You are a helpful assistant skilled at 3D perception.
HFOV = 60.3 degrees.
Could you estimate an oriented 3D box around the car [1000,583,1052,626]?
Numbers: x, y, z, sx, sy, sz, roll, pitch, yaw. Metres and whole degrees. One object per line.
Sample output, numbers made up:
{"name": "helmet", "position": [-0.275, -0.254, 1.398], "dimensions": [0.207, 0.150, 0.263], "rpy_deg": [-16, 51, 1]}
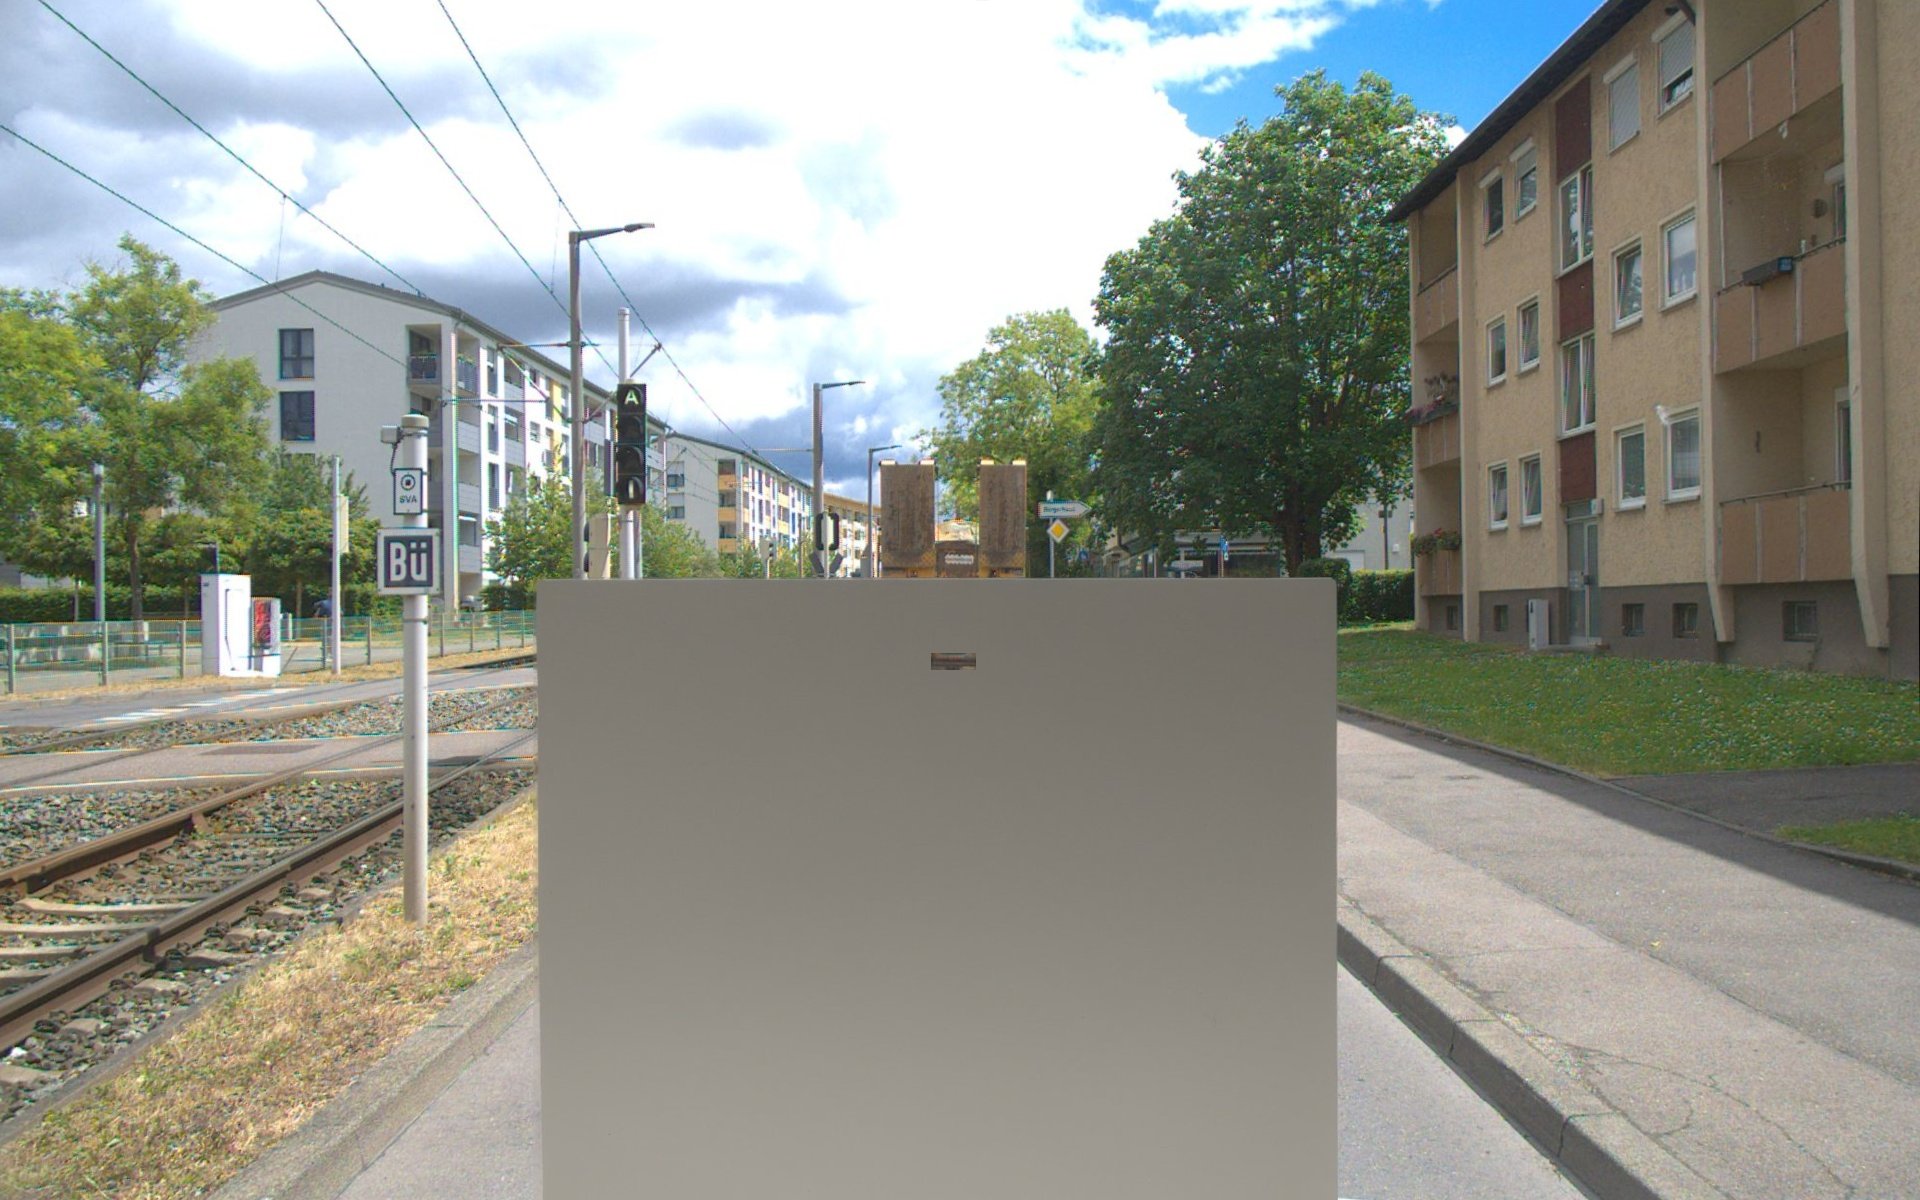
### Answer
{"name": "car", "position": [2.764, 0.150, 70.257], "dimensions": [1.953, 1.646, 4.000], "rpy_deg": [-2, 1, -1]}

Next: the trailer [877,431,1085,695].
{"name": "trailer", "position": [0.041, -0.680, 30.584], "dimensions": [2.990, 3.838, 11.607], "rpy_deg": [-2, 1, -3]}

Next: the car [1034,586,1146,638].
{"name": "car", "position": [4.416, 0.389, 56.036], "dimensions": [3.521, 1.612, 2.002], "rpy_deg": [-2, 0, 11]}

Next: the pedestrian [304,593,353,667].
{"name": "pedestrian", "position": [-15.054, 0.708, 39.451], "dimensions": [0.734, 1.690, 0.870], "rpy_deg": [-2, 1, 3]}

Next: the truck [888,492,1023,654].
{"name": "truck", "position": [-0.271, -0.667, 39.690], "dimensions": [2.777, 3.388, 7.981], "rpy_deg": [-2, 1, -3]}

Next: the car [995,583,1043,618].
{"name": "car", "position": [2.661, 0.009, 75.155], "dimensions": [1.953, 1.411, 4.000], "rpy_deg": [-2, 1, -1]}

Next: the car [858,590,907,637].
{"name": "car", "position": [-3.062, 0.544, 66.101], "dimensions": [1.568, 1.762, 3.939], "rpy_deg": [-2, 0, 2]}

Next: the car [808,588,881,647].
{"name": "car", "position": [-3.561, 0.540, 51.555], "dimensions": [1.764, 1.681, 4.133], "rpy_deg": [-2, 0, 2]}
